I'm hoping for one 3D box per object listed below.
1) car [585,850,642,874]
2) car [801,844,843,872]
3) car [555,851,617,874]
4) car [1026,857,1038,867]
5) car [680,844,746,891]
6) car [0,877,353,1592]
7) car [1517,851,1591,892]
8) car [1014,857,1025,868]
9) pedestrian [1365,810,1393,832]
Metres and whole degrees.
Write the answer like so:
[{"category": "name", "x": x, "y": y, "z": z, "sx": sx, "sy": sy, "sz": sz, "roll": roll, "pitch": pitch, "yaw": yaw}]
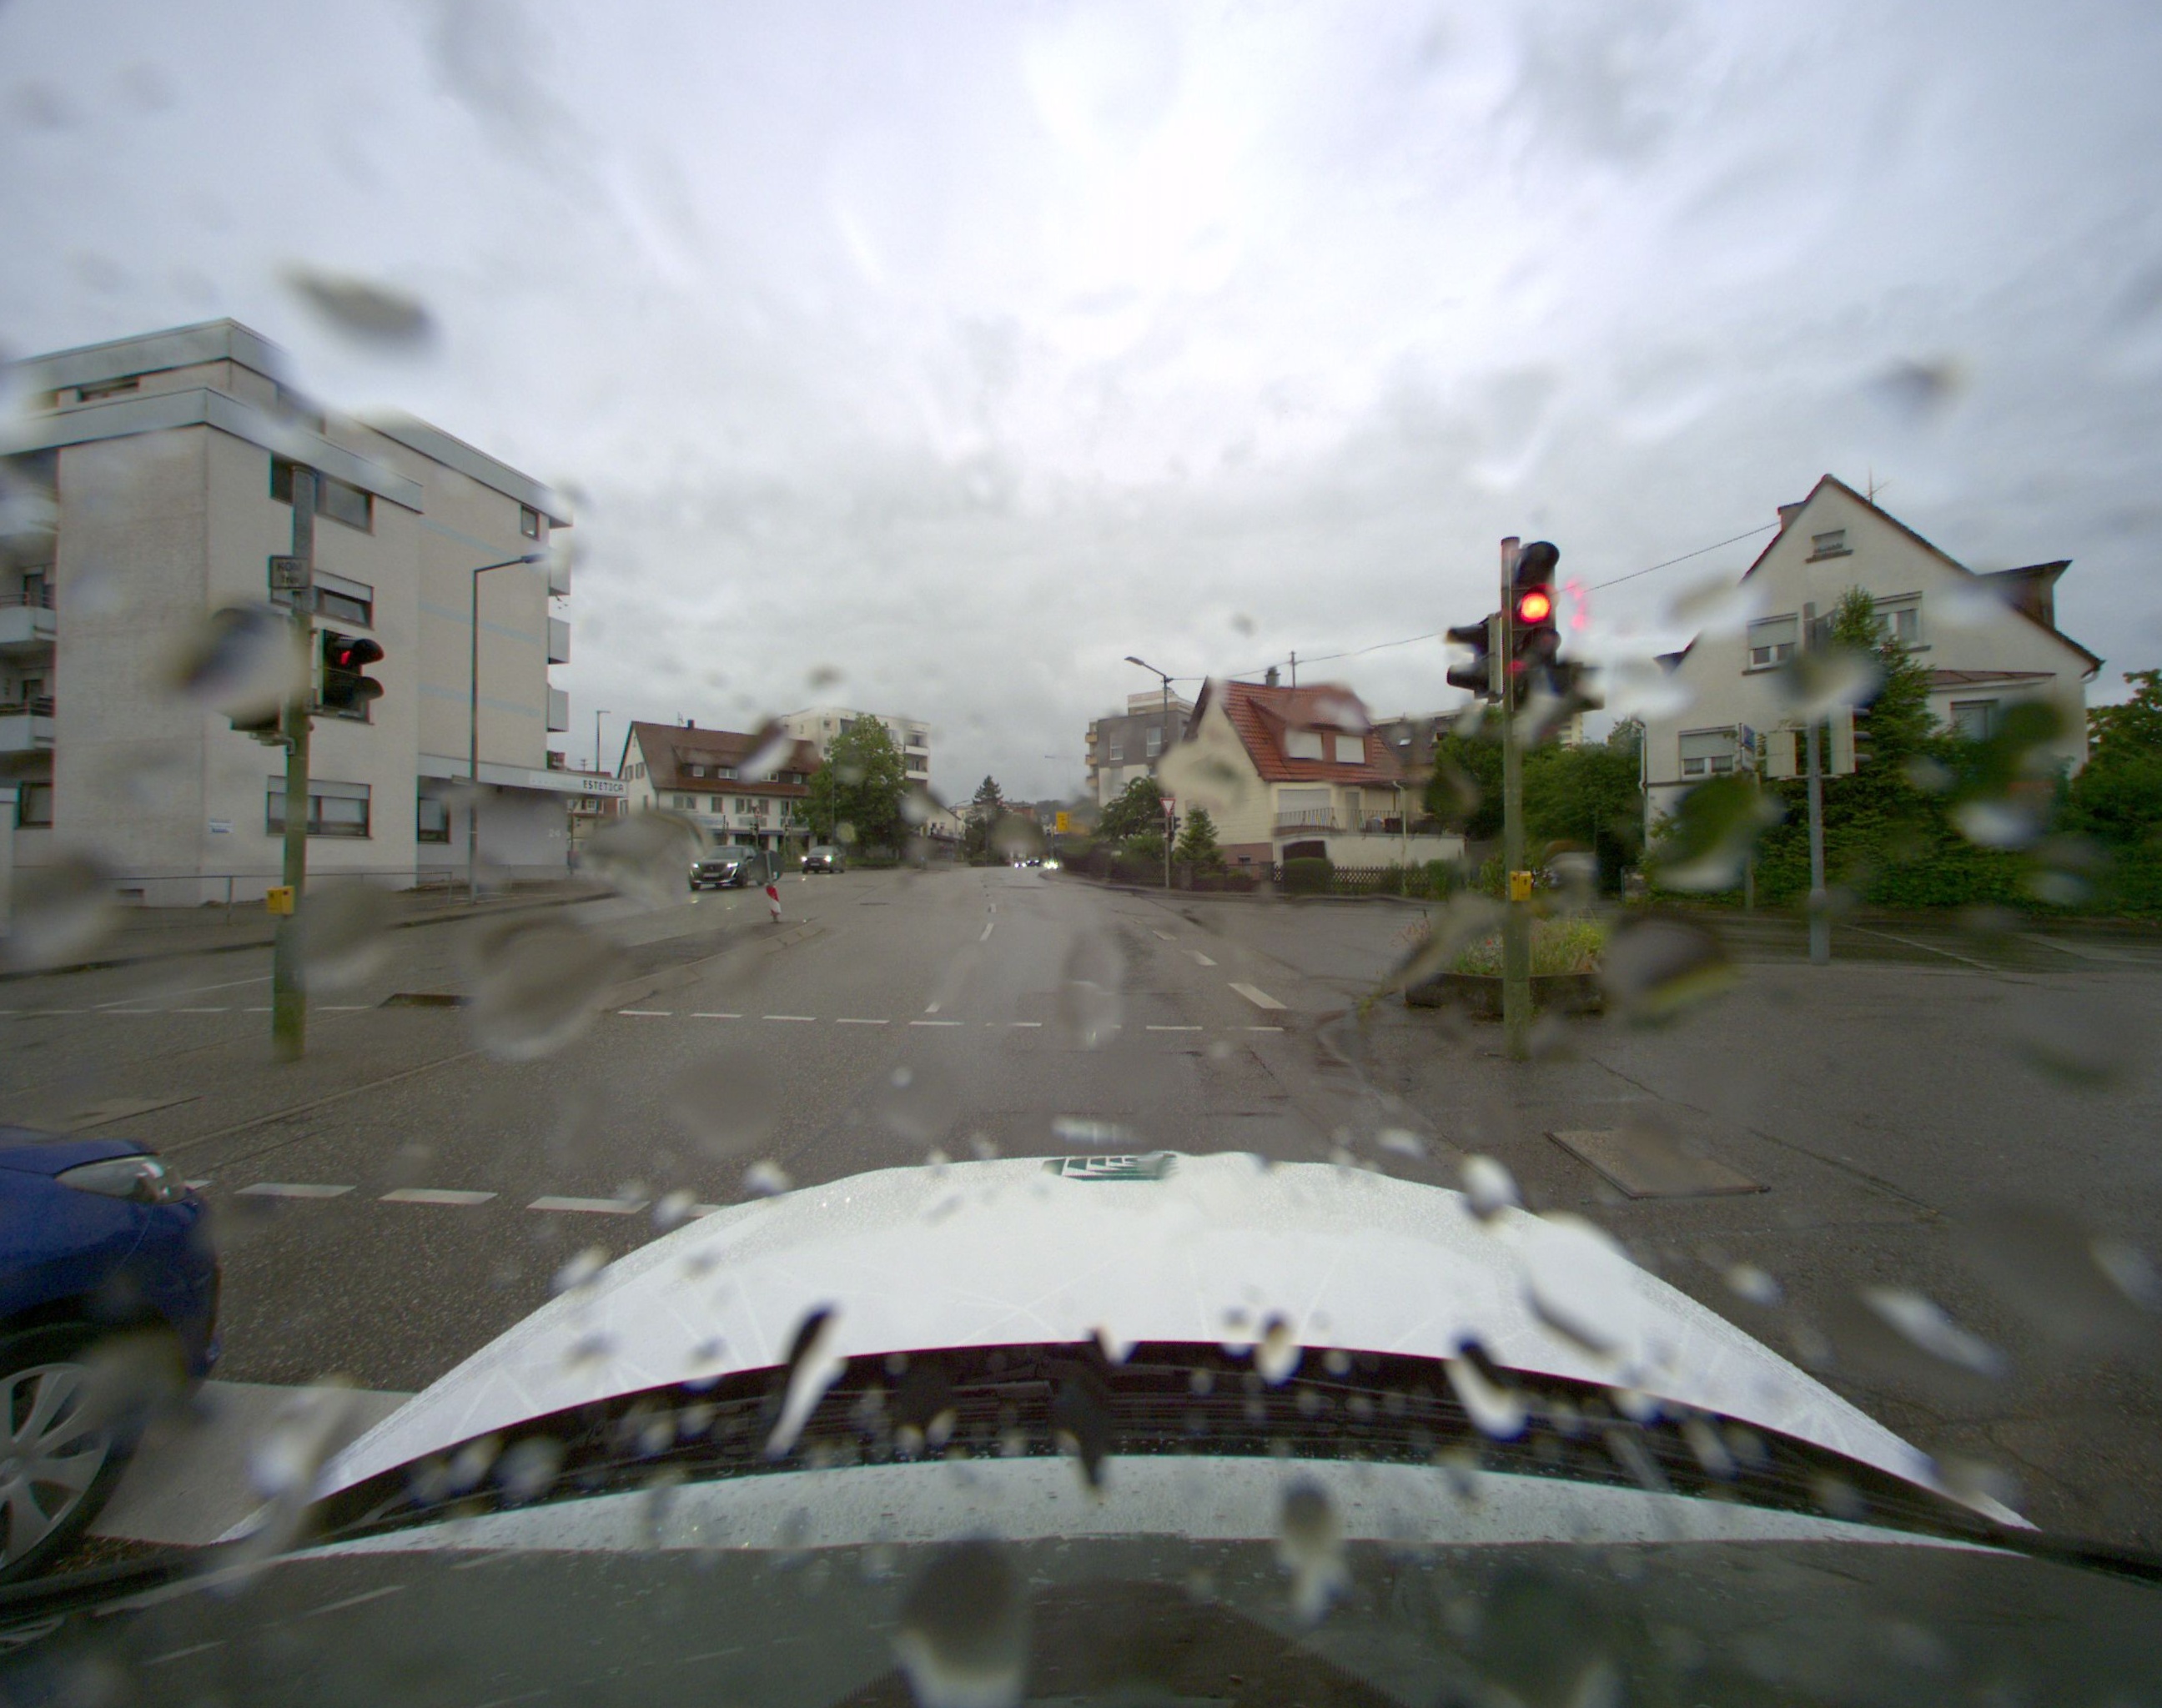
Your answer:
[{"category": "car", "x": -38.445, "y": 0.635, "z": 66.987, "sx": 3.706, "sy": 1.920, "sz": 1.864, "roll": 0, "pitch": -1, "yaw": -44}, {"category": "car", "x": -15.478, "y": 0.263, "z": 48.795, "sx": 1.879, "sy": 1.597, "sz": 4.169, "roll": 0, "pitch": -1, "yaw": -11}, {"category": "car", "x": -41.218, "y": 0.674, "z": 67.810, "sx": 4.093, "sy": 1.843, "sz": 1.864, "roll": 0, "pitch": -1, "yaw": -44}, {"category": "car", "x": -8.674, "y": 1.482, "z": 143.705, "sx": 1.990, "sy": 1.737, "sz": 5.173, "roll": 0, "pitch": 0, "yaw": -4}, {"category": "car", "x": -12.945, "y": 0.458, "z": 28.859, "sx": 1.975, "sy": 1.512, "sz": 3.970, "roll": 0, "pitch": -1, "yaw": -22}, {"category": "car", "x": -2.956, "y": 0.786, "z": 0.732, "sx": 1.499, "sy": 1.413, "sz": 3.365, "roll": 0, "pitch": 0, "yaw": 2}, {"category": "car", "x": 17.108, "y": 0.606, "z": 29.377, "sx": 1.794, "sy": 1.362, "sz": 4.025, "roll": -1, "pitch": -1, "yaw": 37}, {"category": "car", "x": -11.744, "y": 1.598, "z": 154.754, "sx": 1.989, "sy": 1.904, "sz": 3.996, "roll": 0, "pitch": -1, "yaw": -3}, {"category": "pedestrian", "x": 12.767, "y": -1.425, "z": 34.863, "sx": 0.918, "sy": 0.883, "sz": 0.632, "roll": 0, "pitch": -3, "yaw": -18}]
